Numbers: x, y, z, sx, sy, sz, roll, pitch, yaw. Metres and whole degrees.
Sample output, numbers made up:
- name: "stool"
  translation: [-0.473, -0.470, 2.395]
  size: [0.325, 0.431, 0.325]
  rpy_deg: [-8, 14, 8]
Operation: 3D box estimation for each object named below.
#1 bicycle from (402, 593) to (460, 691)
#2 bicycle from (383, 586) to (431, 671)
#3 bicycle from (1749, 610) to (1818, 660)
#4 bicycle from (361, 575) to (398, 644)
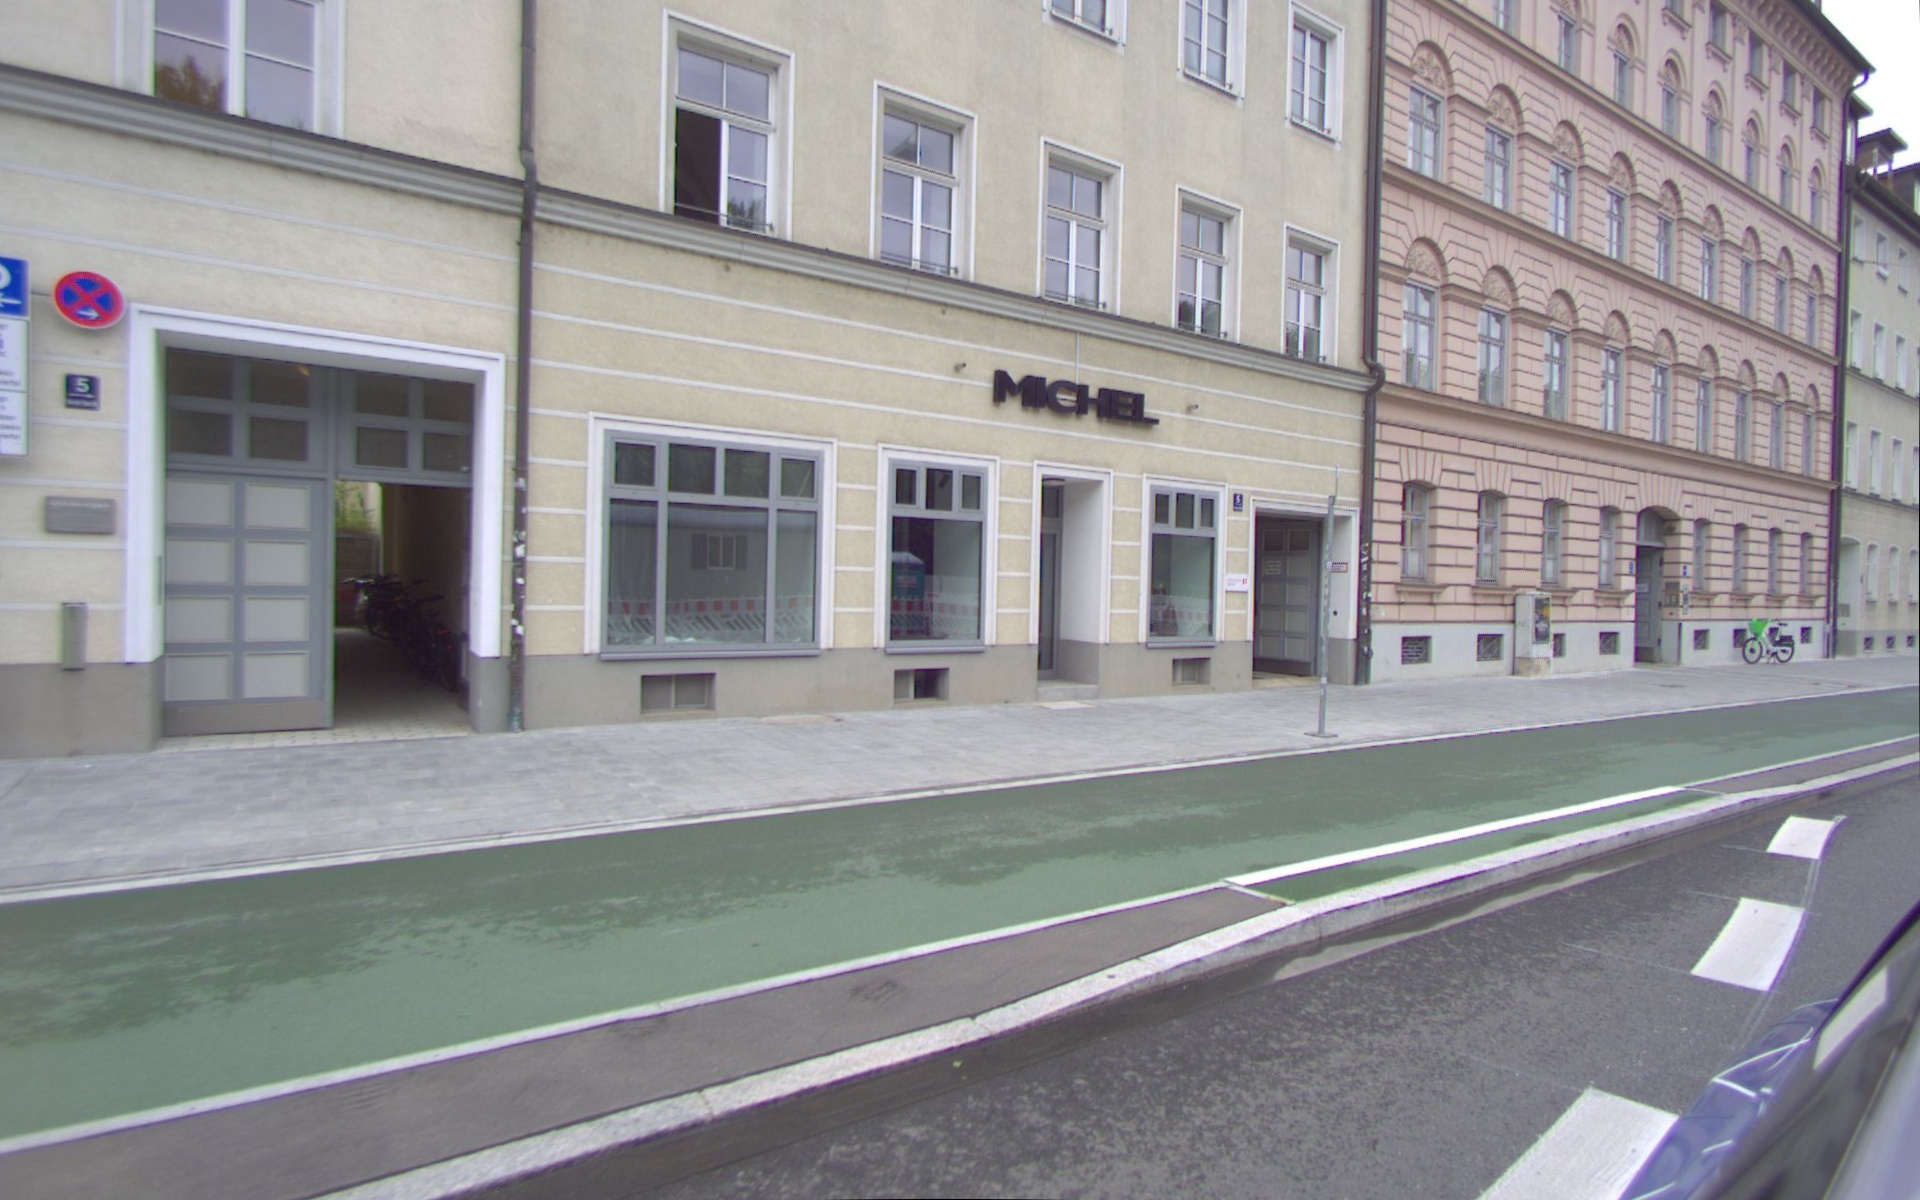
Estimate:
- name: "bicycle"
  translation: [-6.368, 0.471, 12.152]
  size: [0.301, 1.068, 1.626]
  rpy_deg: [1, 1, -38]
- name: "bicycle"
  translation: [-7.619, 0.360, 13.924]
  size: [0.301, 1.068, 1.626]
  rpy_deg: [1, 1, -38]
- name: "bicycle"
  translation: [20.632, 0.880, 25.346]
  size: [1.695, 1.189, 0.428]
  rpy_deg: [1, 1, -17]
- name: "bicycle"
  translation: [-9.716, 0.140, 16.920]
  size: [0.301, 1.068, 1.626]
  rpy_deg: [1, 1, -38]
